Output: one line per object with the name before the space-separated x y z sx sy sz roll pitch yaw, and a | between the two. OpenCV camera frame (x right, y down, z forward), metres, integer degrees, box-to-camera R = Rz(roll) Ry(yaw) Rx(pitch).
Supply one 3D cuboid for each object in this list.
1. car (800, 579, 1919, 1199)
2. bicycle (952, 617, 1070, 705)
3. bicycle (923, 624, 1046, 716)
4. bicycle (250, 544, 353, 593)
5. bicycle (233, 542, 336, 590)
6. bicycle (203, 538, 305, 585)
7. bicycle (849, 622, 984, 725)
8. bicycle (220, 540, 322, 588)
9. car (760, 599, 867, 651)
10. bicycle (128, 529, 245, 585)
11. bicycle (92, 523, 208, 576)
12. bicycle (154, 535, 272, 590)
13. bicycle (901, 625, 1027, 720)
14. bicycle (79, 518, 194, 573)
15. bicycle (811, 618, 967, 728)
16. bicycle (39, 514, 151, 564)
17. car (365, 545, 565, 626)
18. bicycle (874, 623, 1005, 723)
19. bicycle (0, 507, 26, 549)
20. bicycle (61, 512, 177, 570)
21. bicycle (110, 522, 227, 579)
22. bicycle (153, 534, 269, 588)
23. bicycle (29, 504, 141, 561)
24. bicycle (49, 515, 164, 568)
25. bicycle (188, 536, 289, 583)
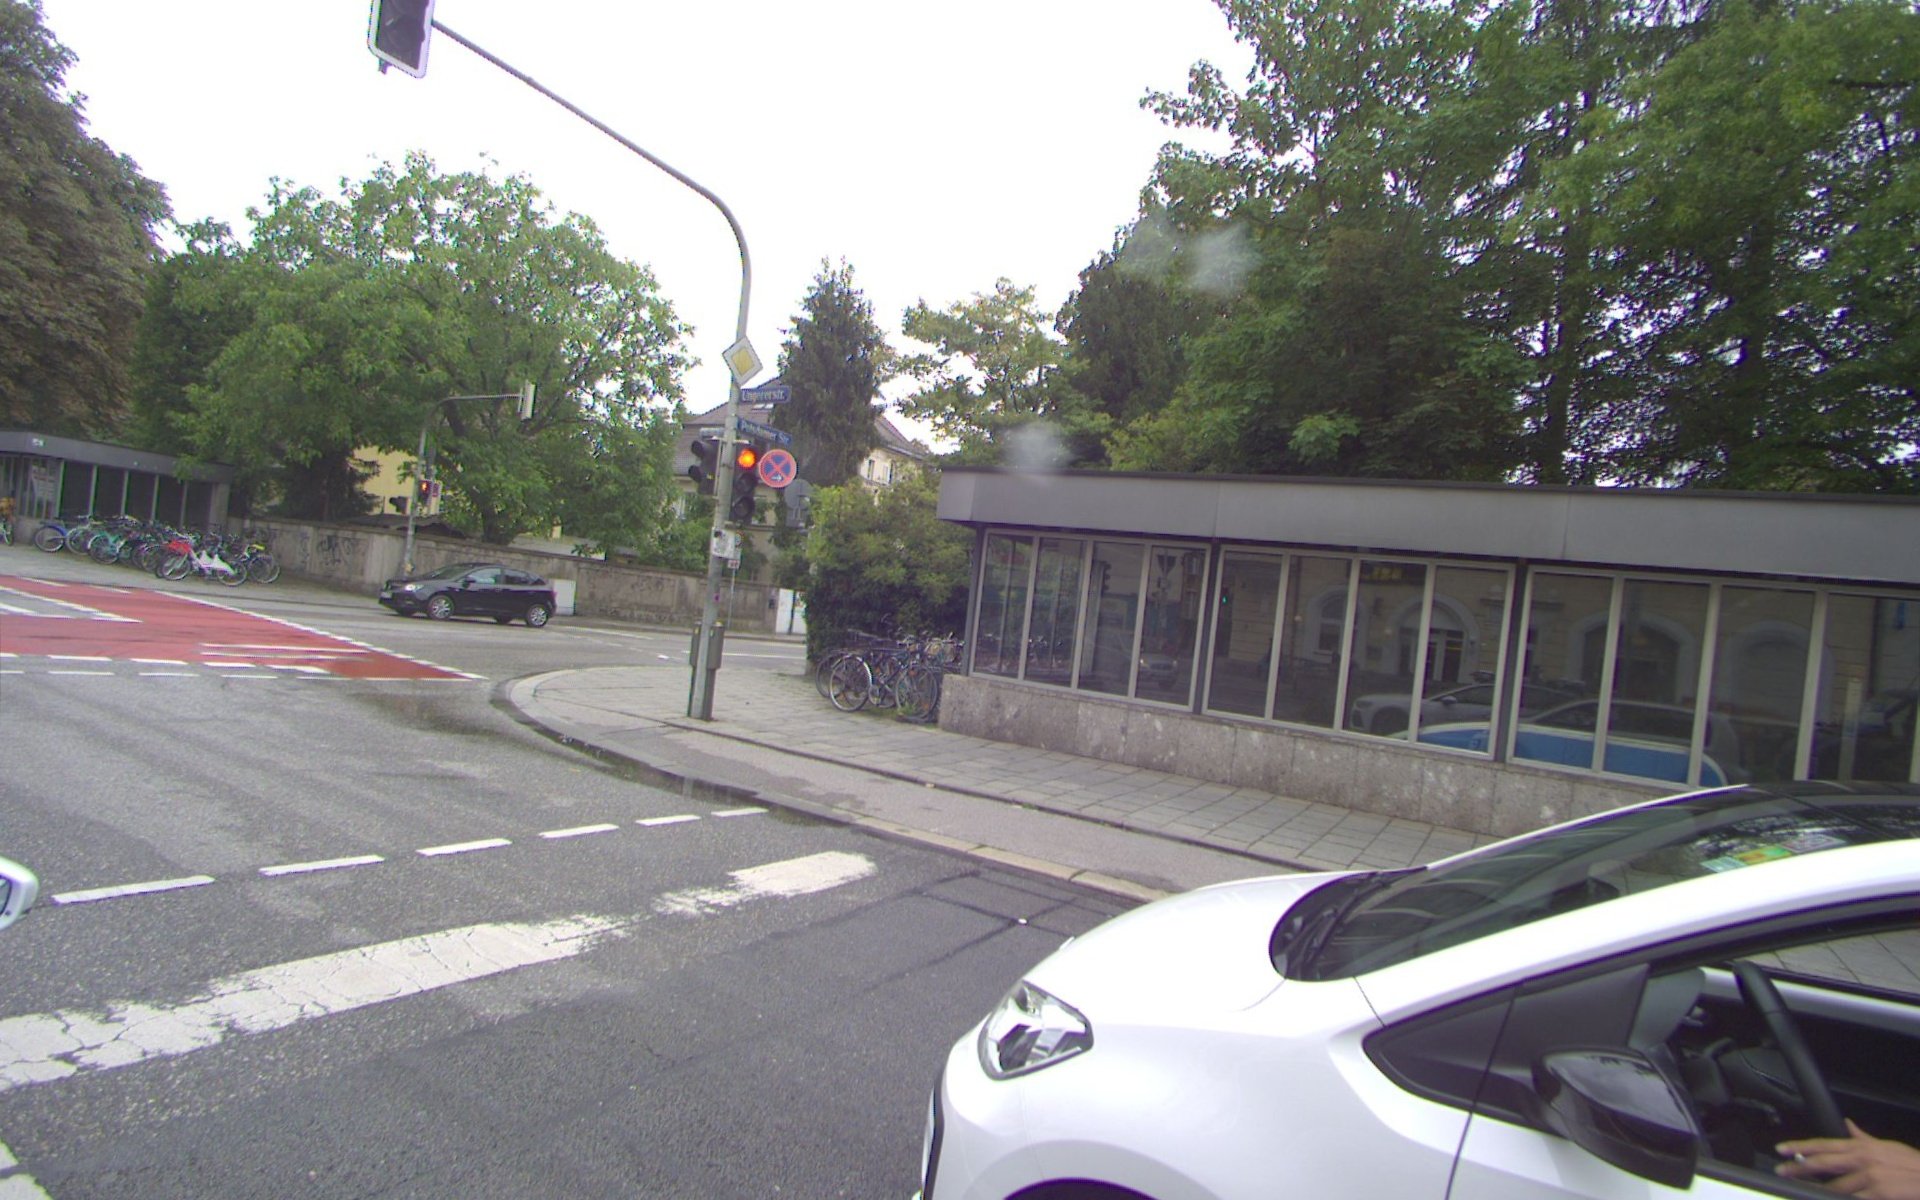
car | 1.652 0.985 1.741 3.526 1.581 1.645 7 0 31
bicycle | 0.769 0.927 15.481 1.707 1.135 0.469 6 0 32
bicycle | 0.353 1.017 14.834 1.707 1.135 0.469 6 0 32
bicycle | -17.447 -0.823 26.696 0.625 1.026 2.141 7 -1 39
bicycle | -18.138 -0.898 27.063 0.625 1.026 2.141 7 -1 39
bicycle | -19.477 -1.046 27.802 0.625 1.026 2.141 7 -1 39
bicycle | -0.592 0.950 13.273 1.707 1.135 0.469 6 0 32
bicycle | -18.774 -0.965 27.463 0.625 1.026 2.141 7 -1 39
car | -4.992 0.903 34.749 1.613 1.414 3.691 7 -1 29
bicycle | -19.111 -1.050 24.890 0.594 1.084 2.141 7 -1 39
bicycle | -20.380 -1.266 25.366 0.594 1.026 2.141 7 -1 39
bicycle | -17.913 -0.876 24.173 0.594 1.026 2.141 7 -1 39
bicycle | 0.042 1.014 14.320 1.707 1.135 0.469 6 0 32
bicycle | -21.004 -1.374 25.708 0.594 1.099 2.141 7 -1 39
bicycle | -0.915 0.904 12.702 1.858 1.135 0.600 6 0 32
bicycle | -23.004 -1.604 26.789 0.594 1.026 2.141 7 -1 39
car | -11.661 -0.301 23.920 1.669 1.414 3.838 7 -1 37
bicycle | -0.296 0.982 13.771 1.707 1.135 0.469 6 0 32
bicycle | -26.304 -2.013 27.444 1.981 1.027 0.557 7 0 30
bicycle | -21.680 -1.502 25.975 0.594 1.192 2.141 7 0 39
bicycle | -19.716 -1.211 25.109 0.594 1.114 2.141 7 -1 39
bicycle | -18.329 -0.931 24.665 0.625 1.026 2.141 7 -1 39
bicycle | -23.588 -1.801 27.159 0.594 1.233 2.141 7 0 39
bicycle | -22.287 -1.510 26.311 0.594 1.075 2.141 7 -1 39
bicycle | -20.159 -1.124 28.160 0.625 1.026 2.141 7 -1 39
